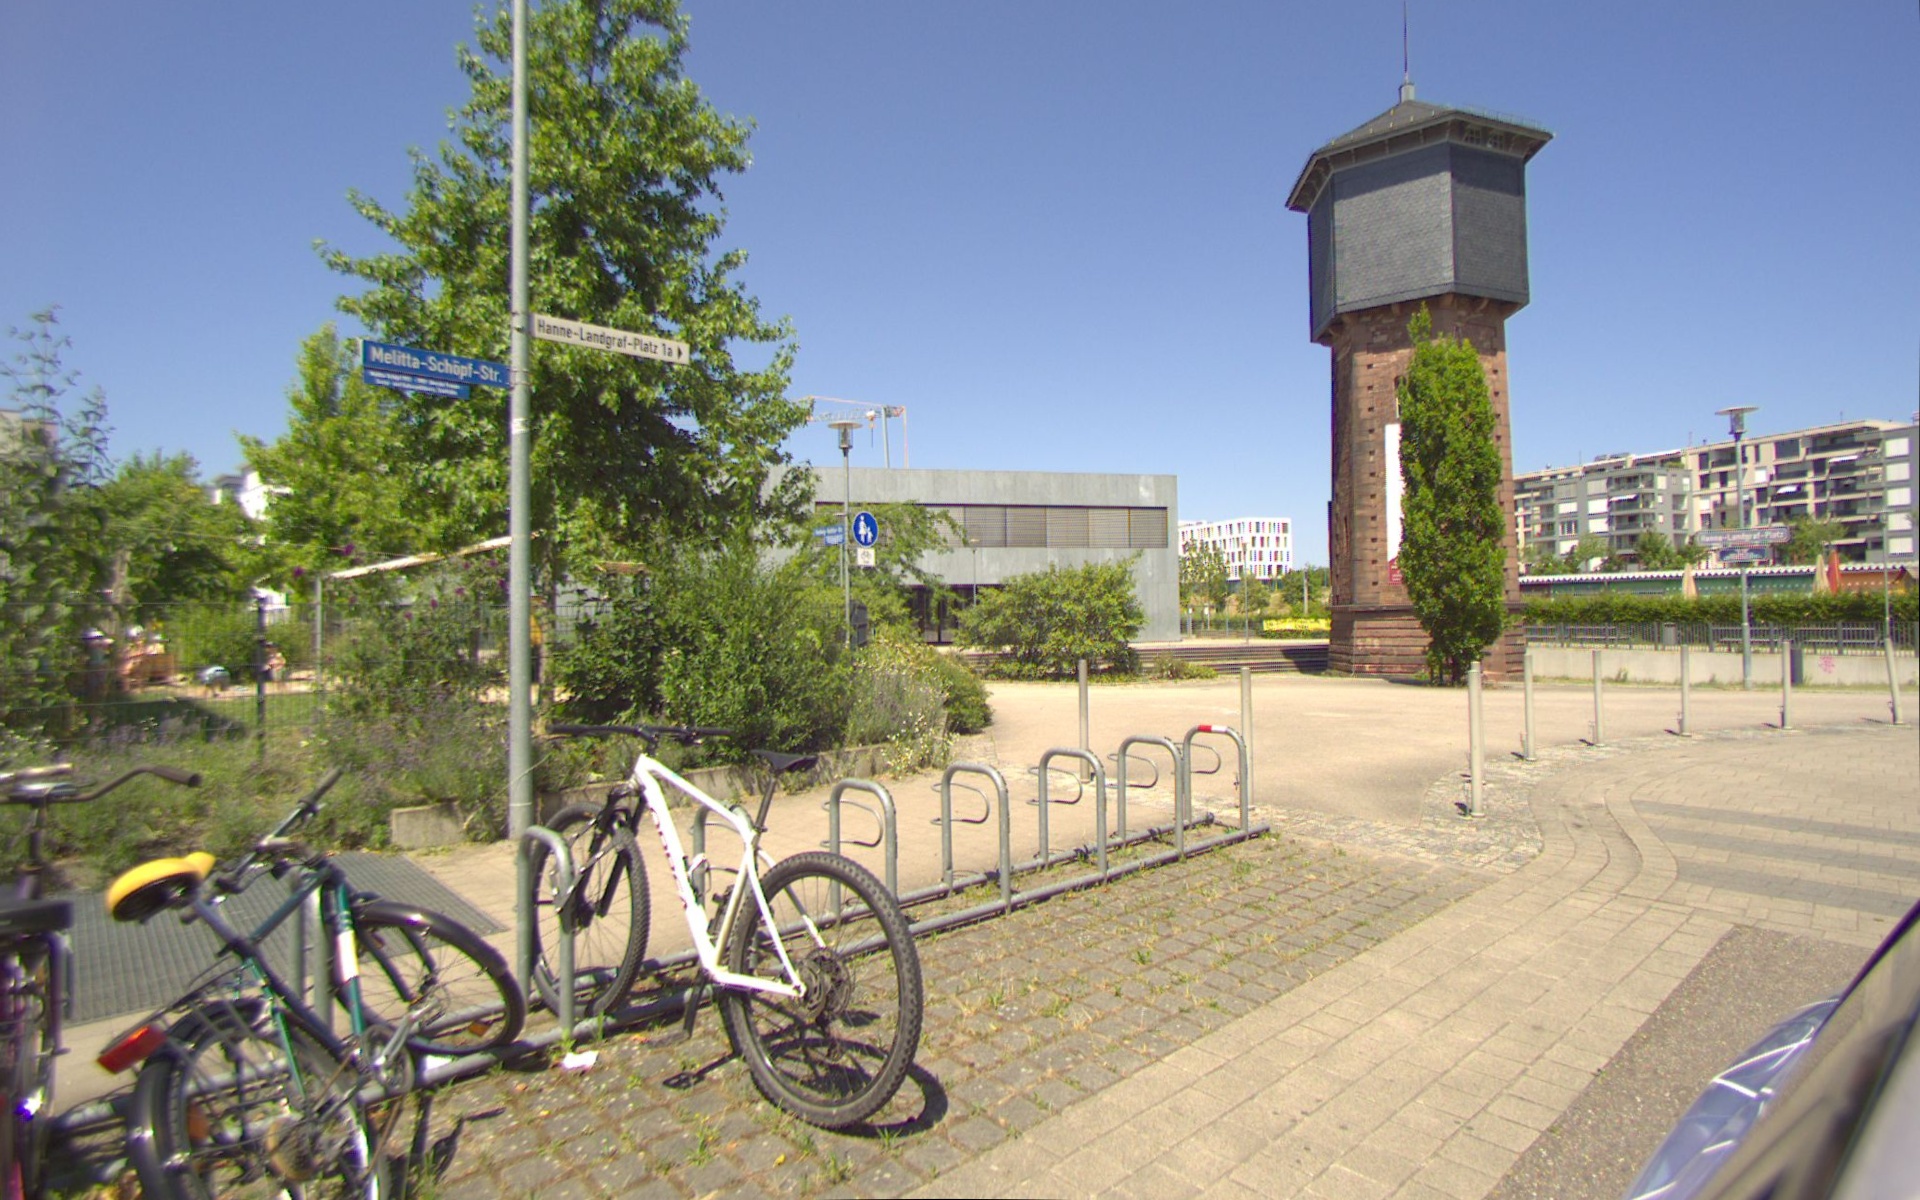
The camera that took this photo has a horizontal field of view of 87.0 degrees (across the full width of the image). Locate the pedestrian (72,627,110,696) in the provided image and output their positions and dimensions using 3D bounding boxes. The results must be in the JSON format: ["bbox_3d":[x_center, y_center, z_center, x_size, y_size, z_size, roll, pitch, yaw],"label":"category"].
[{"bbox_3d":[-13.023,0.916,15.170,0.363,0.999,0.412,0,-3,-31],"label":"pedestrian"}]

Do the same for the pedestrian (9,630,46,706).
[{"bbox_3d":[-12.521,0.908,13.599,0.319,0.999,0.327,0,-3,-36],"label":"pedestrian"}]

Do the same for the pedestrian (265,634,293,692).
[{"bbox_3d":[-12.407,1.136,18.444,0.276,1.038,0.412,-1,-2,-10],"label":"pedestrian"}]

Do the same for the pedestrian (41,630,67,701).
[{"bbox_3d":[-12.903,0.931,14.412,0.242,0.999,0.282,0,-3,-36],"label":"pedestrian"}]

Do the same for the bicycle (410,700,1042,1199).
[{"bbox_3d":[-0.821,0.927,3.223,2.021,1.016,0.864,0,0,36],"label":"bicycle"}]

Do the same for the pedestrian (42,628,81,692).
[{"bbox_3d":[-14.483,0.963,16.314,0.368,0.999,0.406,-3,-3,37],"label":"pedestrian"}]

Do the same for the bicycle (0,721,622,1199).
[{"bbox_3d":[-1.529,0.941,2.602,0.926,0.987,1.861,0,1,-29],"label":"bicycle"}]

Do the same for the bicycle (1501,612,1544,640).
[{"bbox_3d":[25.234,1.157,45.449,0.579,1.214,1.944,-1,-1,-9],"label":"bicycle"}]

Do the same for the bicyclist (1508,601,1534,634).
[{"bbox_3d":[25.217,0.782,45.529,0.718,1.453,0.661,-1,-2,-9],"label":"bicyclist"}]

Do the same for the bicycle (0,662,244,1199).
[{"bbox_3d":[-1.945,0.805,2.134,0.546,1.238,1.853,1,-1,-40],"label":"bicycle"}]

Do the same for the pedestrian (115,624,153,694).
[{"bbox_3d":[-12.511,0.892,15.329,0.276,1.038,0.412,-1,-2,-10],"label":"pedestrian"}]
